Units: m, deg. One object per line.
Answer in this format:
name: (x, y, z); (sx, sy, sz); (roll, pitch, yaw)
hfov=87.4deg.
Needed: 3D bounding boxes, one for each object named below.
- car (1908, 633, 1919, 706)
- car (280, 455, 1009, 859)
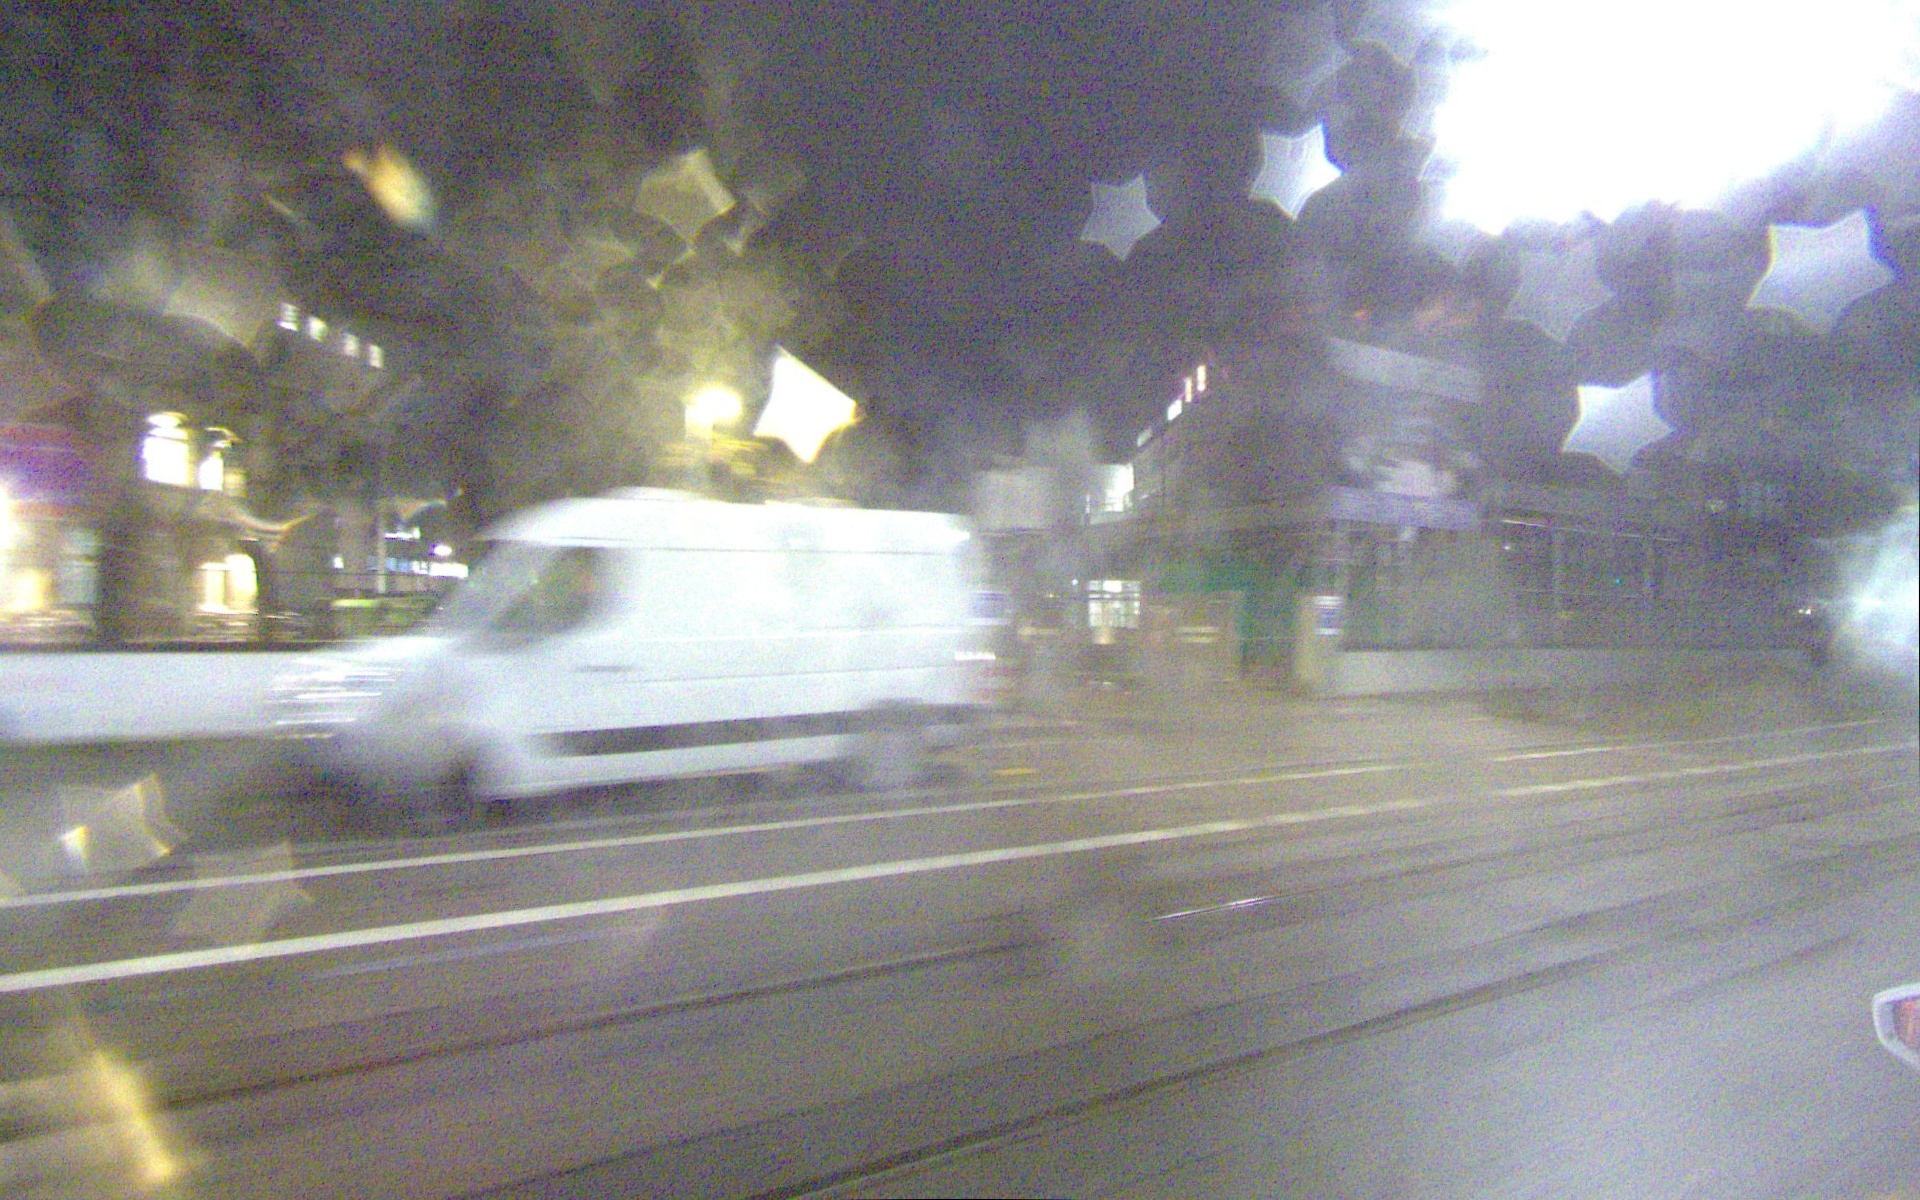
car: (26.297, 1.842, 25.475); (4.912, 1.788, 2.096); (2, 1, -33)
car: (-2.441, 0.366, 8.650); (5.546, 2.533, 2.013); (1, 2, -33)
